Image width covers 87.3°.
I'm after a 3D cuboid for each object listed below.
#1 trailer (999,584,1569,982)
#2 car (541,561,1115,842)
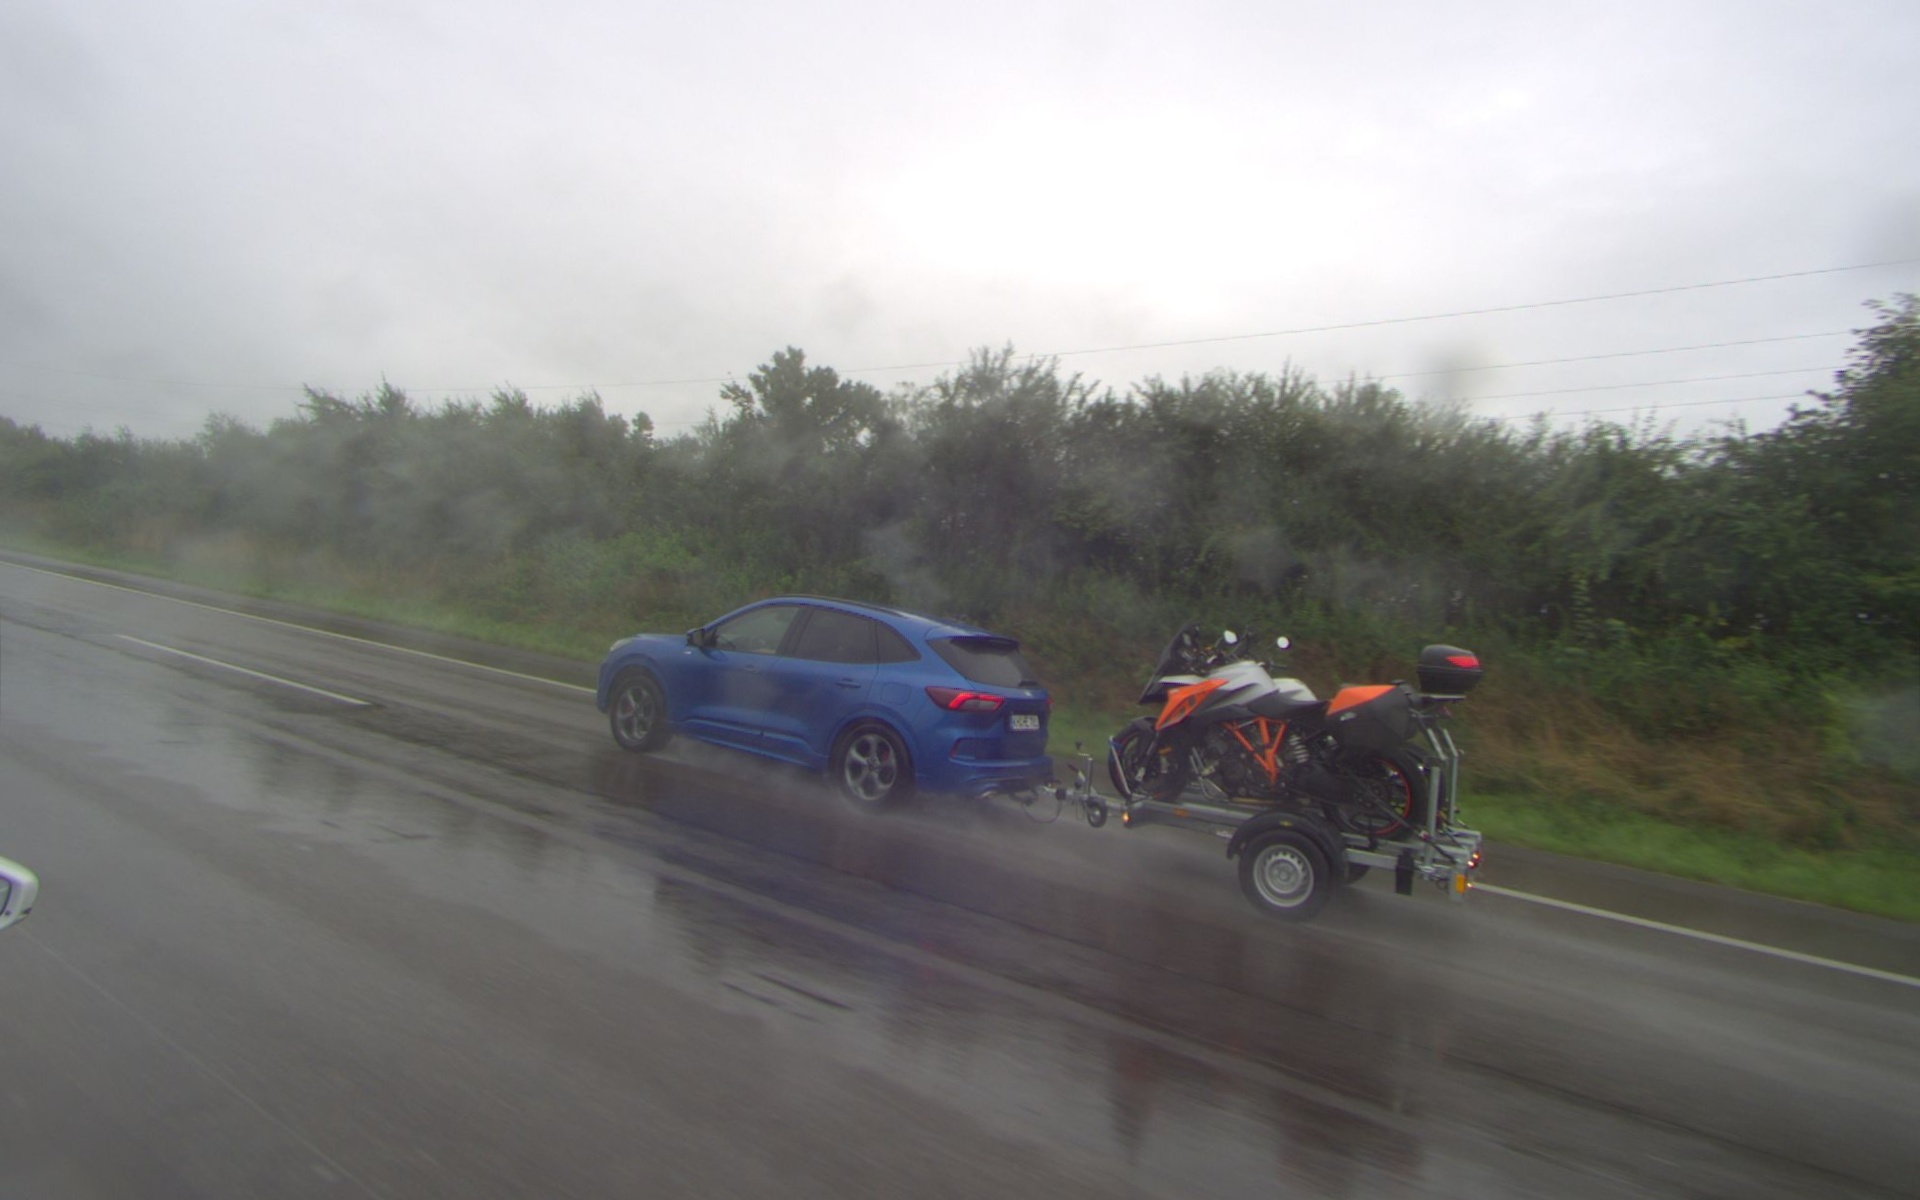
[{"bbox_3d":[2.202,1.021,6.837,3.137,1.805,1.982,6,-2,33],"label":"trailer"},{"bbox_3d":[-1.337,0.746,9.131,4.911,1.638,1.997,6,-2,33],"label":"car"}]
